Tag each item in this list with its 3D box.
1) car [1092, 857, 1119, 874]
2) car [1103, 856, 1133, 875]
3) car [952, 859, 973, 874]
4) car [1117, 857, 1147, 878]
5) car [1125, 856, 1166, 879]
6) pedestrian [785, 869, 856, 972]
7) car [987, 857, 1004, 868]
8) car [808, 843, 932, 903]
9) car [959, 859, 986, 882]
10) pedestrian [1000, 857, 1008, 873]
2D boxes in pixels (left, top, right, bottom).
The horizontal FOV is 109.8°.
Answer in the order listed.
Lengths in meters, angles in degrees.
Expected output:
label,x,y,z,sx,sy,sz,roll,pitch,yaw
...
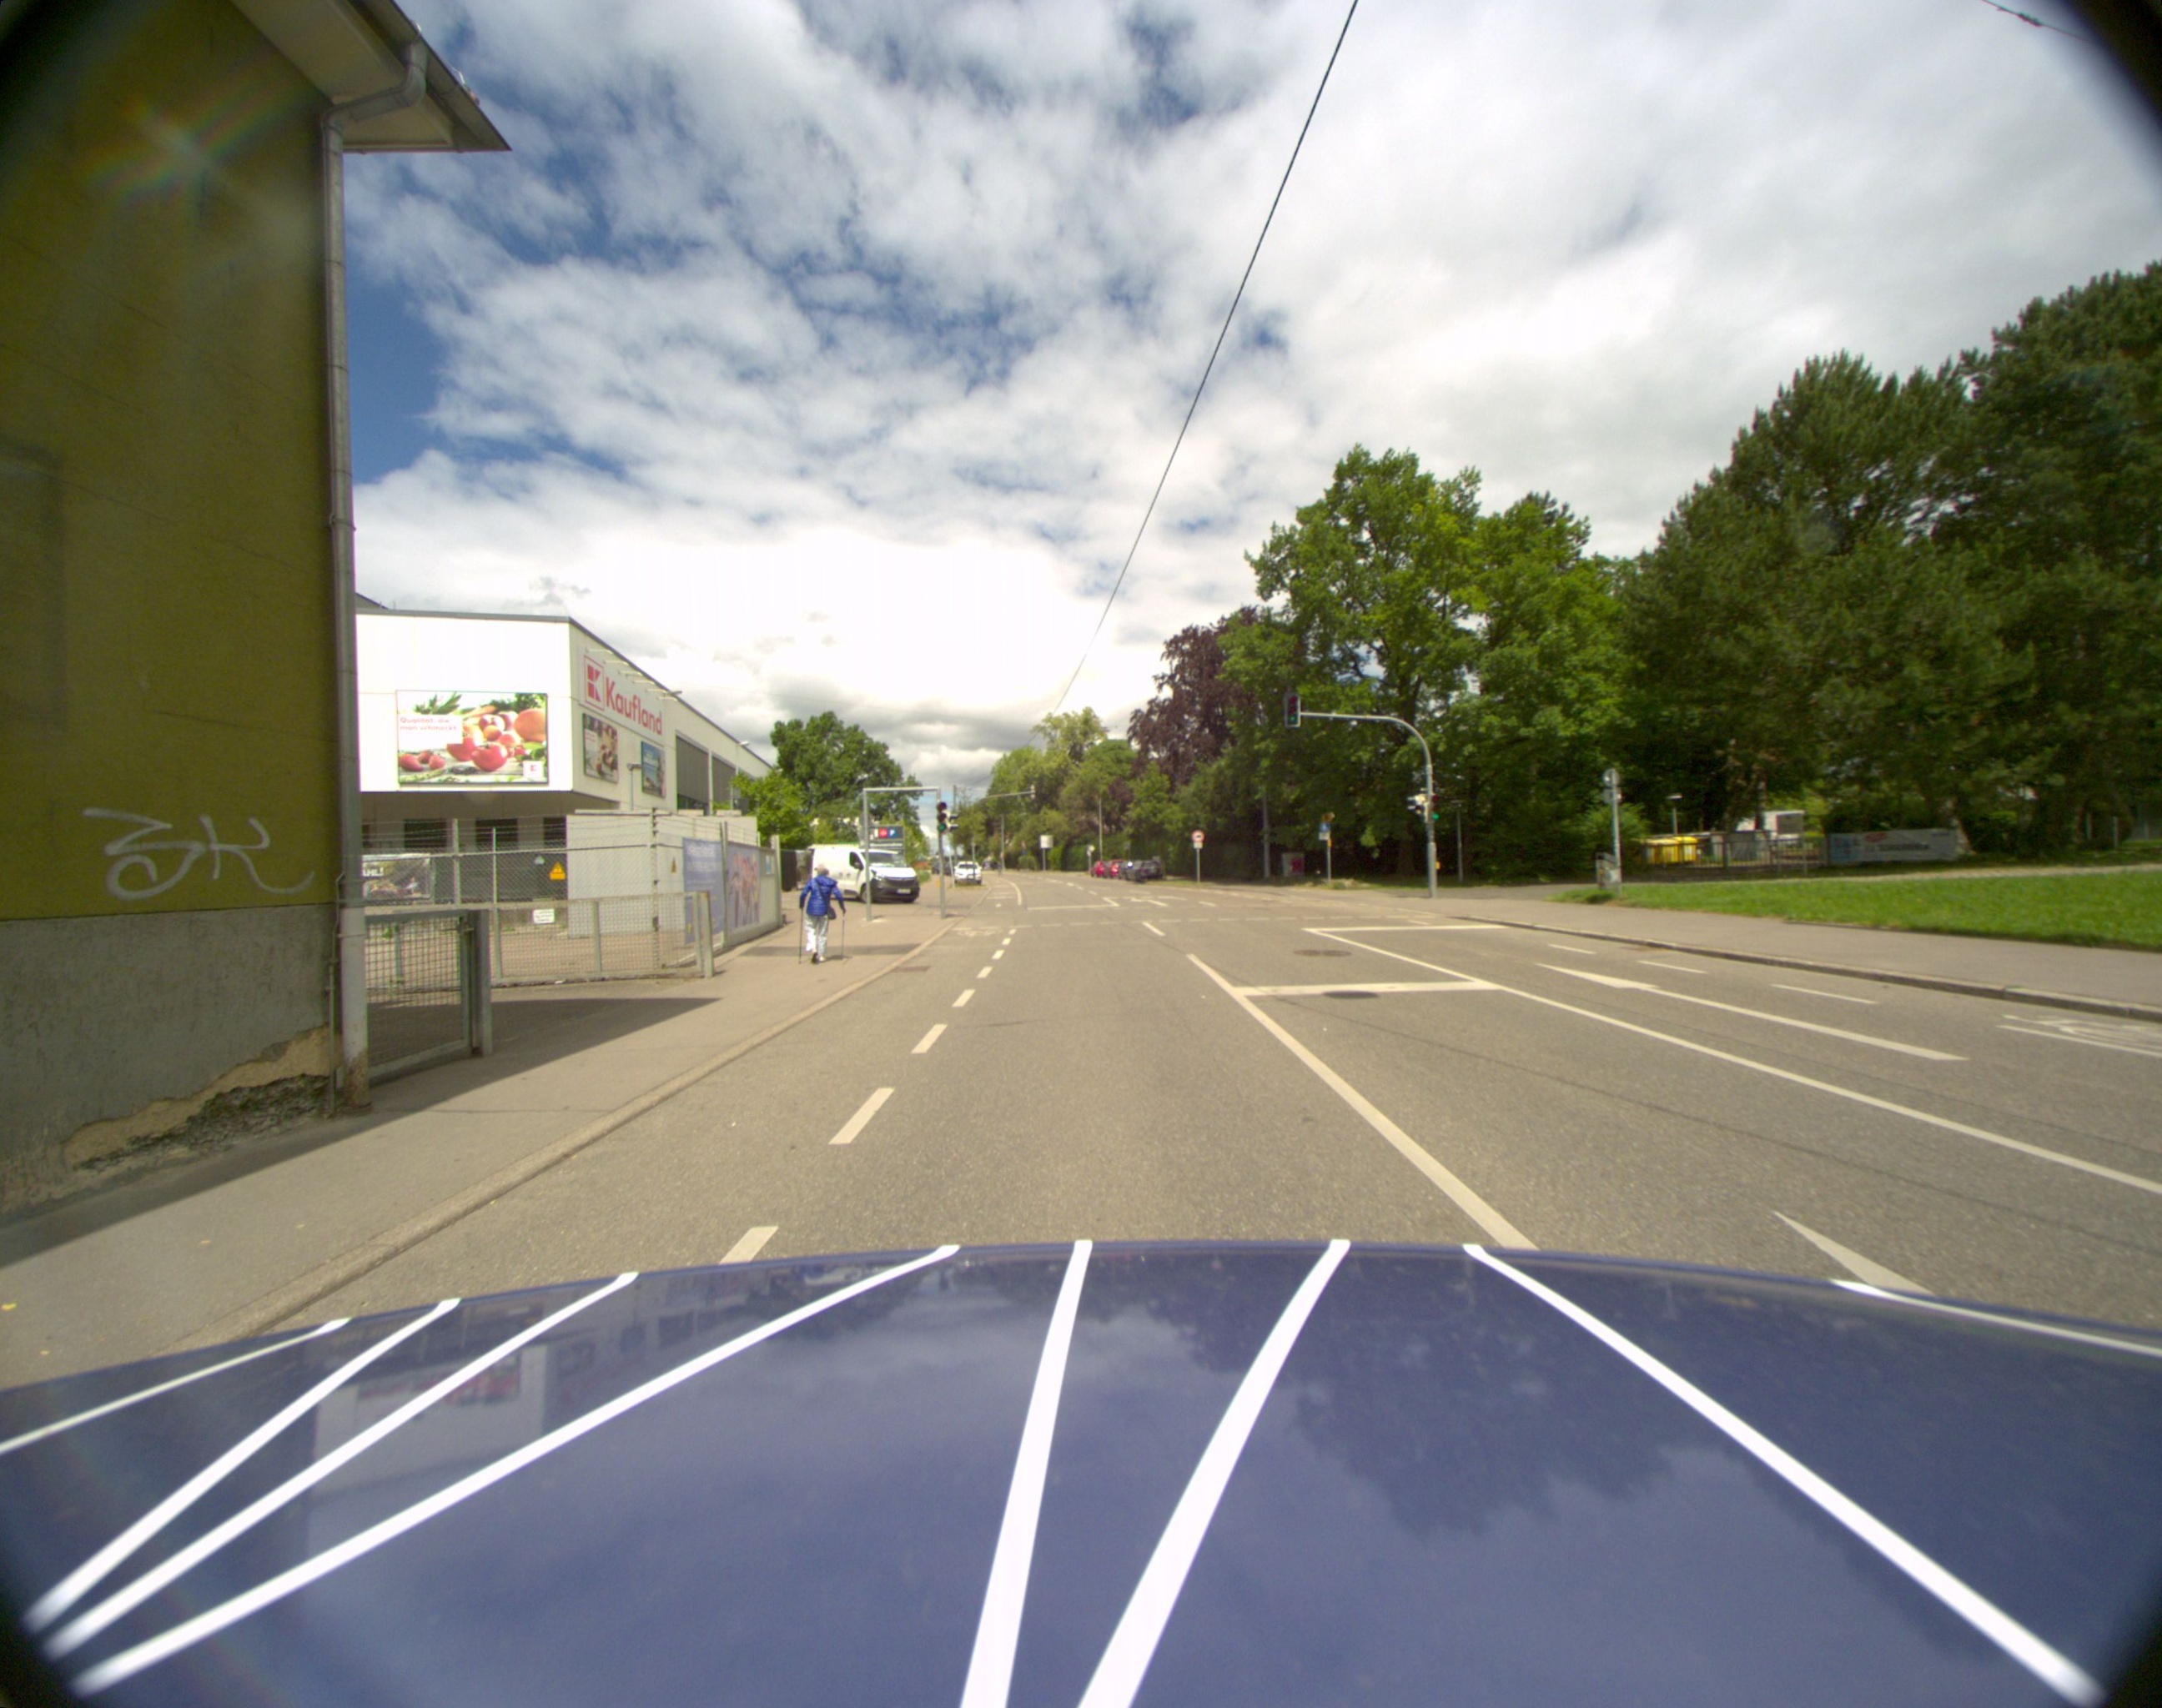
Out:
label,x,y,z,sx,sy,sz,roll,pitch,yaw
car,2.123,0.962,65.918,1.531,1.358,3.371,-3,1,-12
car,2.915,0.909,60.990,1.524,1.469,3.321,-3,1,-12
car,-12.657,1.305,81.188,1.707,1.522,3.995,-3,0,-15
car,3.757,0.965,56.483,1.560,1.404,3.191,-3,1,-9
car,4.364,0.895,51.970,1.688,1.407,4.398,-3,1,-9
pedestrian,-4.155,1.030,12.193,0.826,1.563,0.987,-1,1,-4
car,-12.585,1.224,111.447,1.852,1.546,3.945,-3,0,-13
car,-7.898,0.658,28.071,5.336,2.011,2.004,-1,1,45
car,-7.615,1.150,53.101,1.796,1.522,3.918,1,0,-9
pedestrian,-8.151,1.137,80.083,0.554,1.663,0.587,-3,1,-28
